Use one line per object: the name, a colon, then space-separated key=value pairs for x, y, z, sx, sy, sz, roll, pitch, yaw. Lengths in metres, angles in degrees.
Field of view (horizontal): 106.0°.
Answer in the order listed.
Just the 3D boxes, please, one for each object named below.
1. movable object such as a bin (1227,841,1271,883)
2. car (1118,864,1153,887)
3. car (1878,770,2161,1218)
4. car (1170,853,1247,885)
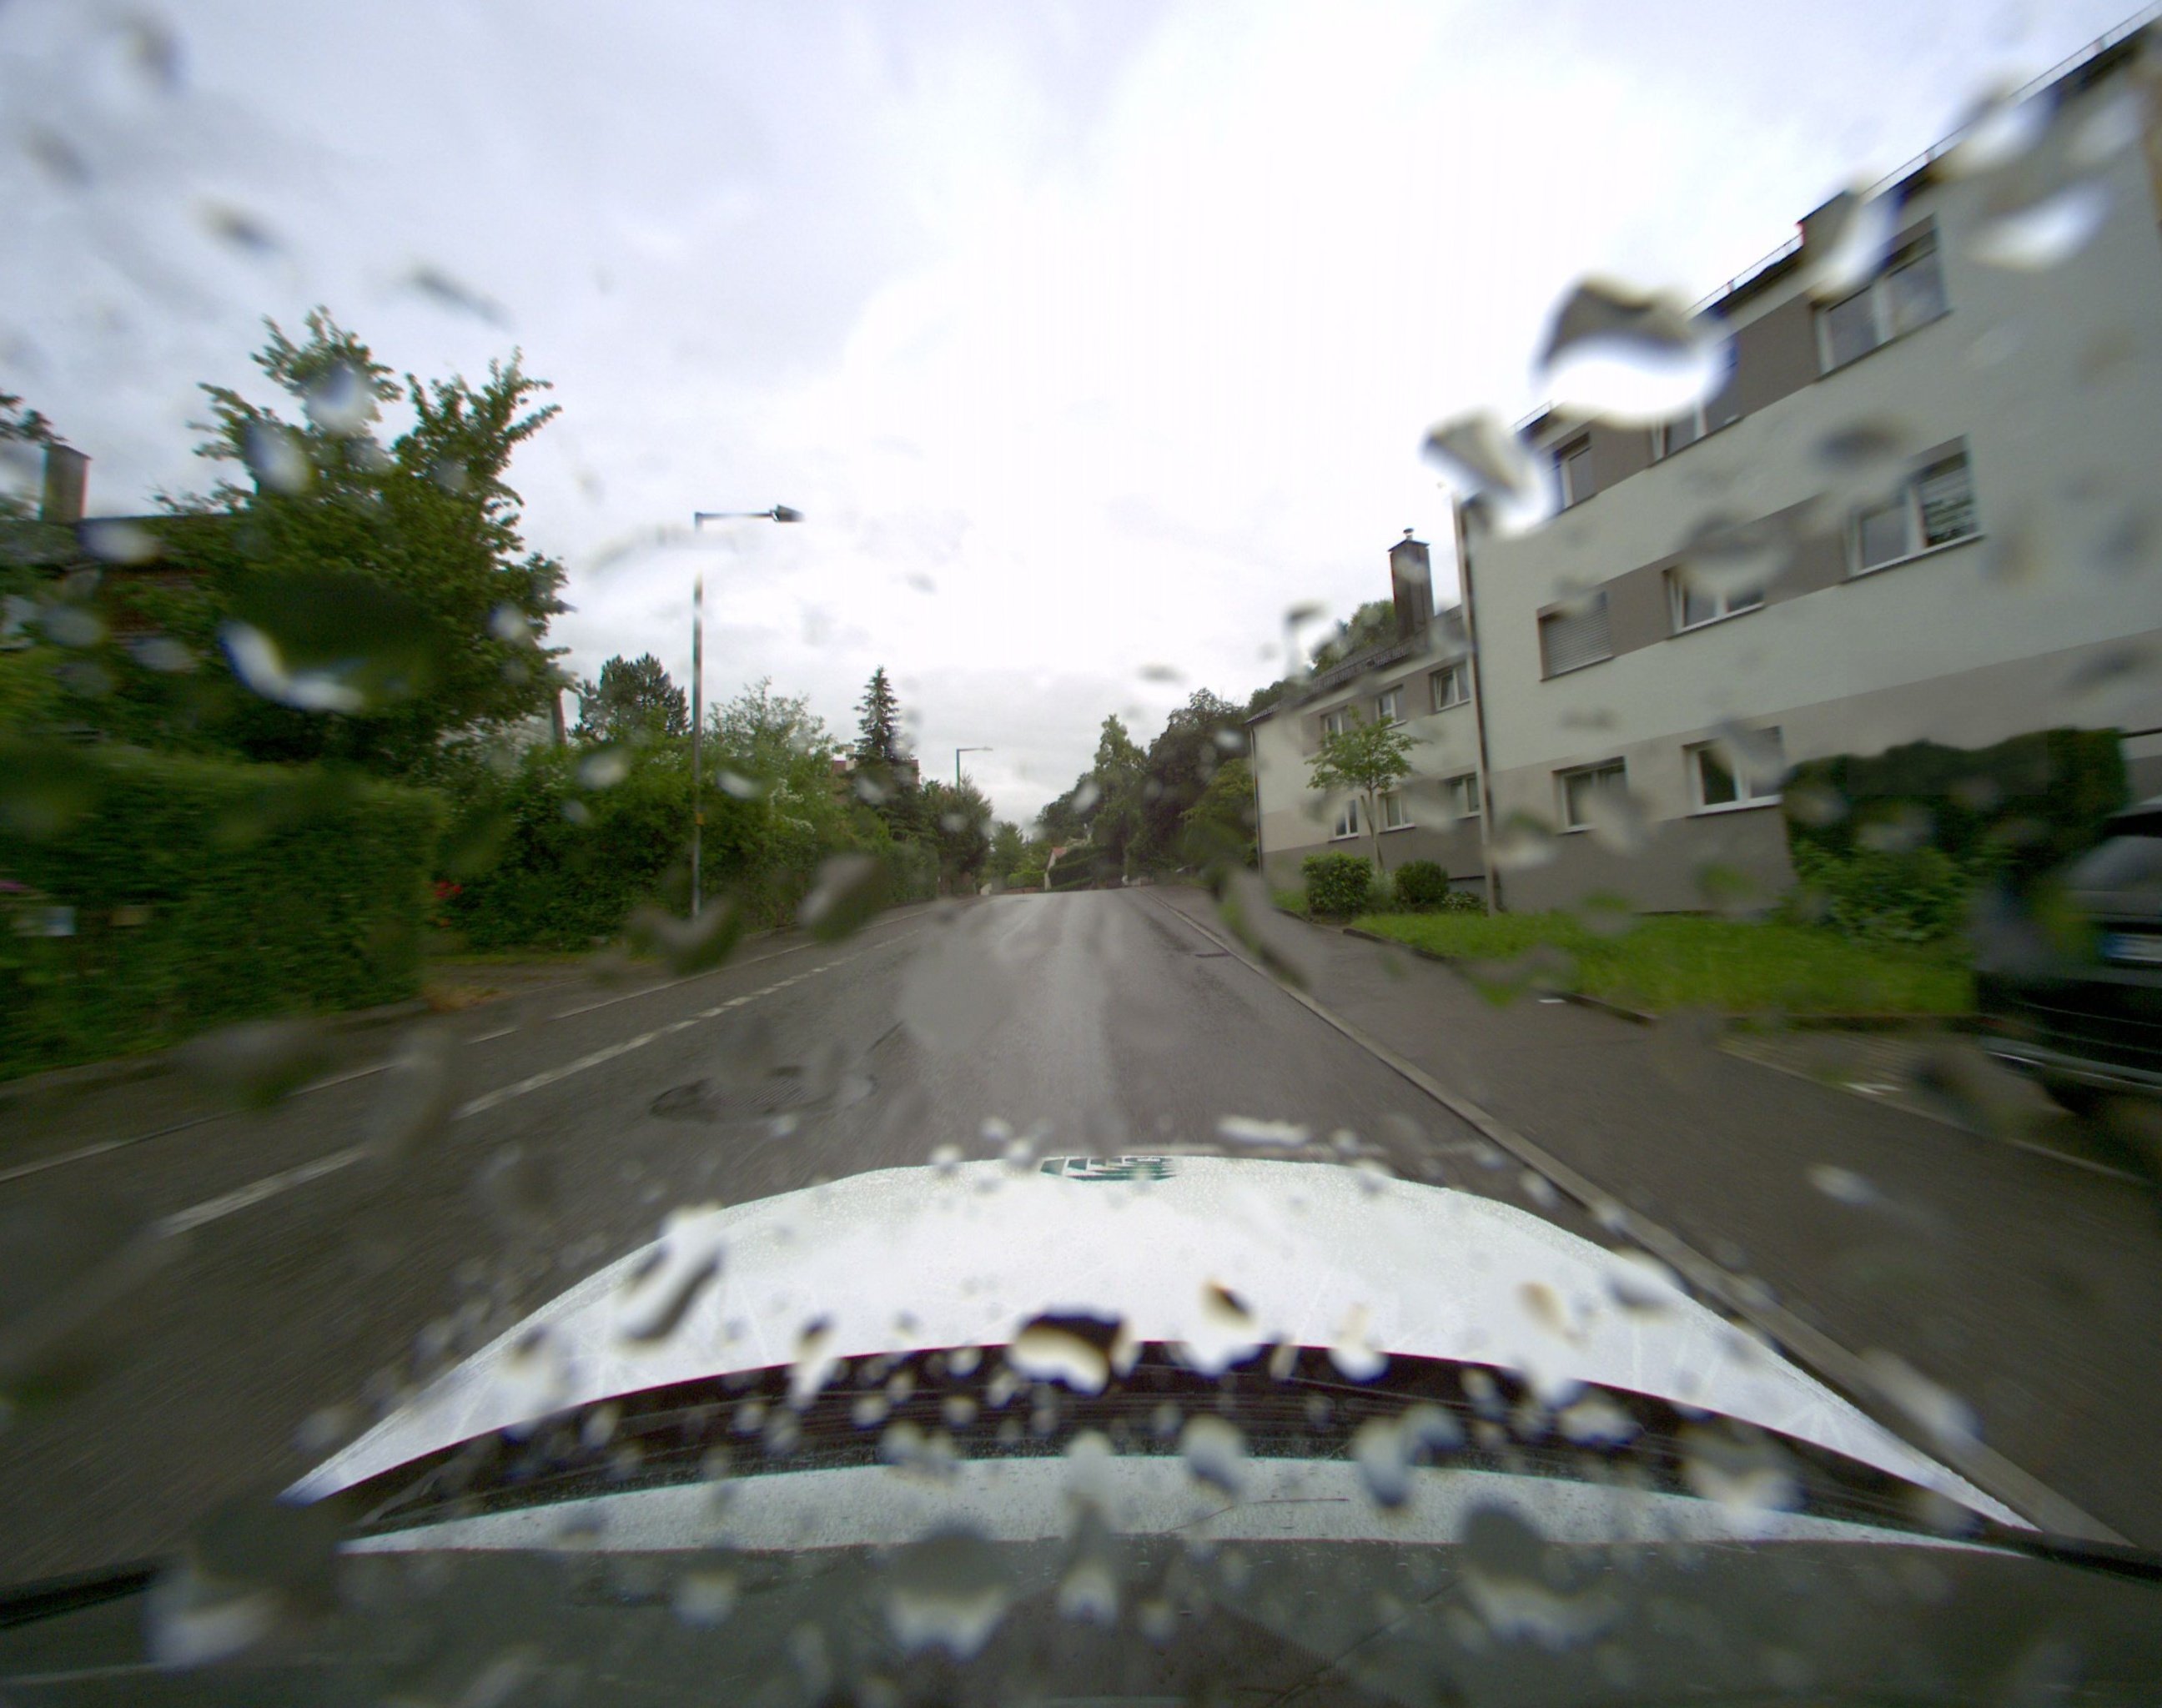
movable object such as a bin: x=6.404 y=0.297 z=31.068 sx=1.249 sy=1.497 sz=0.973 roll=-3 pitch=-1 yaw=-33
car: x=4.286 y=1.750 z=64.920 sx=1.535 sy=1.535 sz=3.825 roll=-7 pitch=-1 yaw=-15
car: x=6.210 y=0.387 z=3.226 sx=4.519 sy=1.660 sz=1.852 roll=-3 pitch=0 yaw=-6
car: x=7.421 y=0.890 z=47.273 sx=4.302 sy=1.717 sz=1.734 roll=-1 pitch=-3 yaw=12
